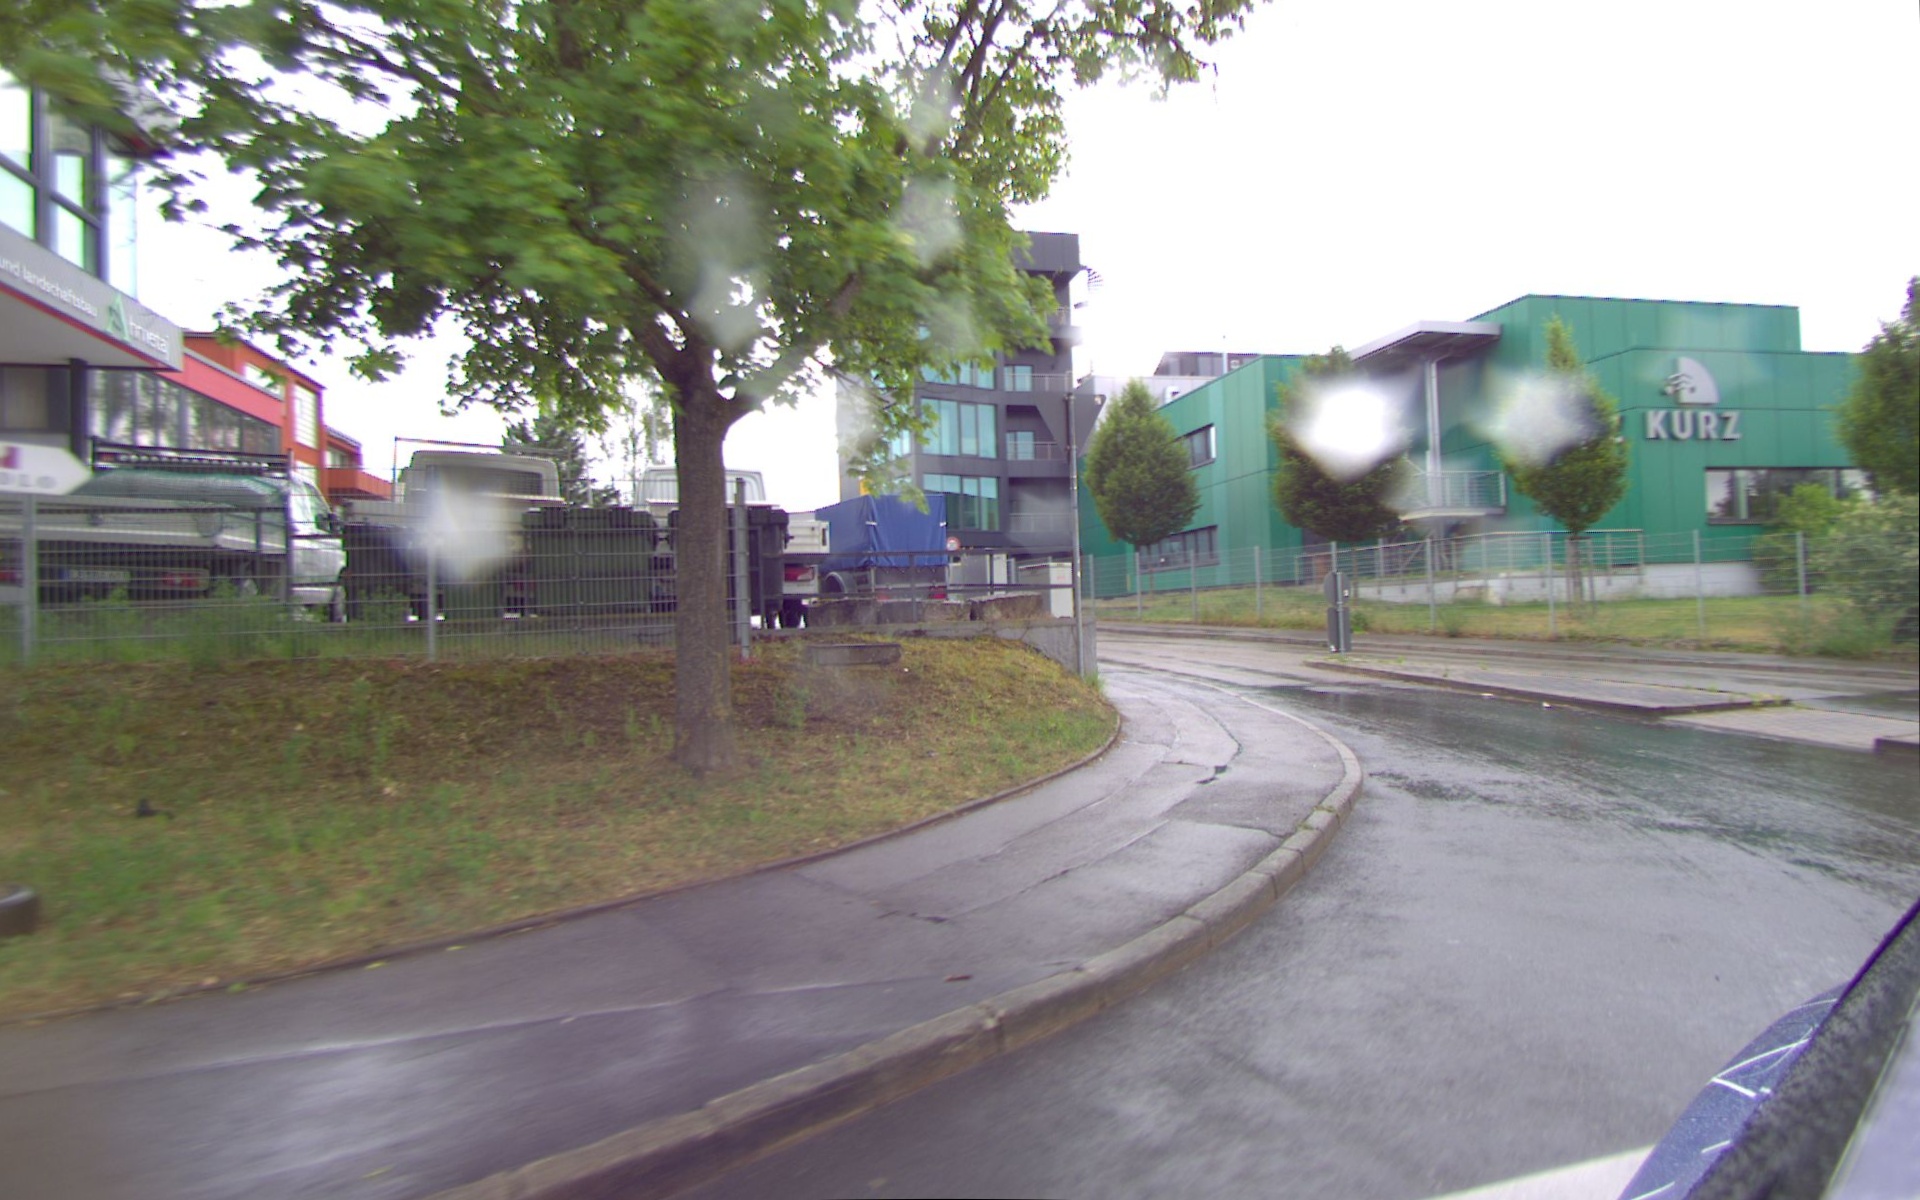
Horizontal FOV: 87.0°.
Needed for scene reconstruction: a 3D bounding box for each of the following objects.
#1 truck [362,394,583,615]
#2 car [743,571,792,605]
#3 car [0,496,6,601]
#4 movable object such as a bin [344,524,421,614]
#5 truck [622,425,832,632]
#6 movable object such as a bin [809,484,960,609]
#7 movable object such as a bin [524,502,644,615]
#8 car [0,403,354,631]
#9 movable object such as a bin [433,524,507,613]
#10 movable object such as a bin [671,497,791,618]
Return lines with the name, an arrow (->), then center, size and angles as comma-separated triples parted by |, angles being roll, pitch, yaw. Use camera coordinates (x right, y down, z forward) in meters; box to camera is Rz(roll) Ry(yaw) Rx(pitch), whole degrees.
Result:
truck -> -6.323, -1.055, 13.510 | 2.203, 2.371, 4.846 | -1, 0, -23
car -> -10.810, -0.694, 56.631 | 1.709, 1.819, 3.965 | -1, 2, -26
car -> -20.240, -0.949, 18.240 | 3.916, 2.039, 2.005 | -1, 1, -17
movable object such as a bin -> -5.401, -0.292, 9.480 | 0.512, 0.811, 0.541 | -1, 1, -17
truck -> -3.450, -0.853, 13.956 | 2.068, 2.241, 5.665 | -1, 1, -21
movable object such as a bin -> -1.032, -0.676, 13.355 | 1.285, 1.519, 1.860 | -1, 1, -31
movable object such as a bin -> -3.693, -0.408, 10.026 | 1.031, 1.055, 0.886 | -1, 1, -15
car -> -8.734, -0.809, 11.610 | 2.020, 2.038, 4.950 | -1, 1, -19
movable object such as a bin -> -4.682, -0.302, 9.697 | 0.554, 0.828, 0.541 | -1, 1, -17
movable object such as a bin -> -2.387, -0.430, 10.452 | 1.118, 1.176, 1.029 | -1, 1, -17
